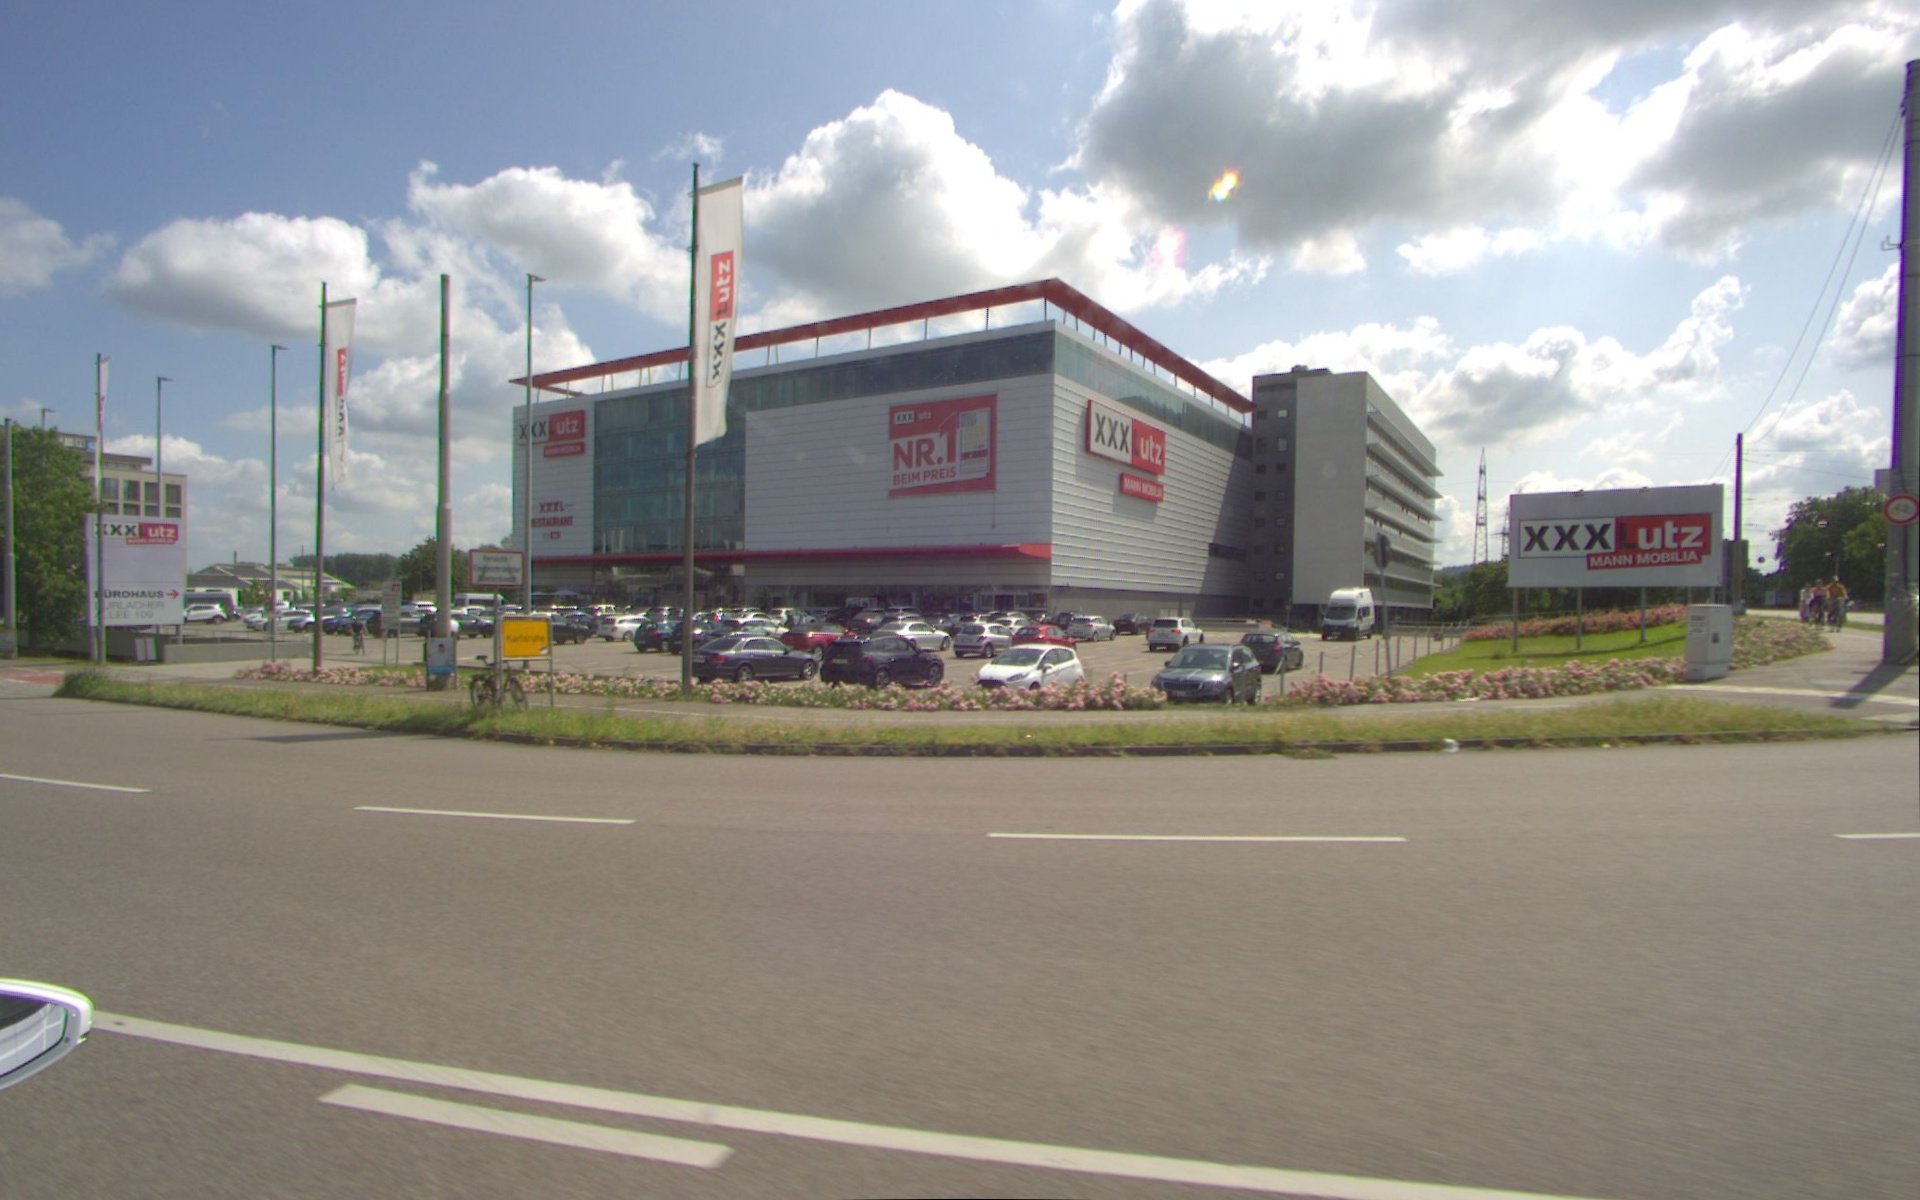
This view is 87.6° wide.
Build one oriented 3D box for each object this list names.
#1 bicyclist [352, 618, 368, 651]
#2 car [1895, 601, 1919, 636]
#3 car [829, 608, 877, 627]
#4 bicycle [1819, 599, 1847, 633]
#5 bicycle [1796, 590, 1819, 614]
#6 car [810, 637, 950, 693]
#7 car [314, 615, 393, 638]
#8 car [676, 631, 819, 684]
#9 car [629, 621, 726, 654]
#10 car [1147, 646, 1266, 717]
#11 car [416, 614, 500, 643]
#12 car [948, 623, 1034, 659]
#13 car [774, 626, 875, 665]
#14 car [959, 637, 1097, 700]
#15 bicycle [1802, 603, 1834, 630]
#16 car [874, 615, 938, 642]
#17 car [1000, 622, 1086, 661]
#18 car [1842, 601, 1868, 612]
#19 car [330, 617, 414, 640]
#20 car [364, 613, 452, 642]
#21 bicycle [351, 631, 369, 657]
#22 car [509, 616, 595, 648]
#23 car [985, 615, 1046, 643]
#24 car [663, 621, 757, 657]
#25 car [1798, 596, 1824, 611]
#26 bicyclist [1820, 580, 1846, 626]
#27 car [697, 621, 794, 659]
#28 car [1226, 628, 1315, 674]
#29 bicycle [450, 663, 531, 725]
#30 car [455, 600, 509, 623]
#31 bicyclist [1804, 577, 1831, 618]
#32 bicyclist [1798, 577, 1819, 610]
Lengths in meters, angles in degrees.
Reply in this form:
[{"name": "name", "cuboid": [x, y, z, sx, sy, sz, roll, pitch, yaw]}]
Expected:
[{"name": "bicyclist", "cuboid": [-26.984, 1.540, 45.024, 0.609, 1.431, 0.710, 0, 0, -32]}, {"name": "car", "cuboid": [39.883, 0.709, 40.881, 1.724, 1.378, 4.226, -1, -1, 33]}, {"name": "car", "cuboid": [-8.711, 1.466, 81.935, 1.714, 1.498, 4.159, 0, -1, 32]}, {"name": "bicycle", "cuboid": [30.466, 0.567, 34.952, 0.613, 1.180, 1.495, 1, -1, 37]}, {"name": "bicycle", "cuboid": [35.230, 0.094, 41.630, 0.589, 0.973, 1.975, 1, -1, 36]}, {"name": "car", "cuboid": [-2.232, 1.823, 29.136, 1.831, 1.435, 4.350, -1, -1, 33]}, {"name": "car", "cuboid": [-39.931, 1.715, 65.991, 1.664, 1.343, 4.174, 0, 0, 32]}, {"name": "car", "cuboid": [-6.599, 1.743, 31.526, 1.831, 1.495, 4.348, -1, -1, 34]}, {"name": "car", "cuboid": [-13.538, 1.778, 48.183, 1.821, 1.381, 4.346, 1, 1, 34]}, {"name": "car", "cuboid": [6.008, 1.889, 24.123, 1.691, 1.436, 3.981, -1, -1, 31]}, {"name": "car", "cuboid": [-29.705, 1.675, 59.352, 1.739, 1.573, 4.174, 0, 1, 31]}, {"name": "car", "cuboid": [1.444, 1.810, 44.935, 1.821, 1.381, 4.346, 1, 1, 34]}, {"name": "car", "cuboid": [-5.693, 1.890, 42.466, 1.821, 1.381, 4.346, 1, 1, 34]}, {"name": "car", "cuboid": [1.887, 1.742, 26.489, 1.771, 1.458, 4.350, -1, -1, 33]}, {"name": "bicycle", "cuboid": [31.743, 0.605, 37.051, 0.656, 0.973, 1.687, 1, -1, 33]}, {"name": "car", "cuboid": [-3.195, 1.704, 59.857, 1.825, 1.572, 4.038, -1, -1, 34]}, {"name": "car", "cuboid": [3.652, 1.759, 43.362, 1.821, 1.446, 4.346, 1, 1, 34]}, {"name": "car", "cuboid": [125.141, 0.890, 140.017, 1.906, 1.383, 3.727, 0, -1, 30]}, {"name": "car", "cuboid": [-37.864, 1.829, 64.583, 1.739, 1.343, 4.351, 0, 0, 31]}, {"name": "car", "cuboid": [-33.946, 1.656, 61.686, 2.000, 1.595, 4.351, 0, 1, 31]}, {"name": "bicycle", "cuboid": [-26.980, 1.970, 45.017, 0.617, 1.082, 1.955, 0, 0, -33]}, {"name": "car", "cuboid": [-21.608, 1.687, 53.208, 1.716, 1.552, 4.048, 0, 0, 29]}, {"name": "car", "cuboid": [3.158, 1.635, 56.130, 1.645, 1.470, 3.979, 0, -1, 33]}, {"name": "car", "cuboid": [-11.663, 1.778, 46.947, 1.604, 1.461, 4.346, 1, 1, 34]}, {"name": "car", "cuboid": [140.804, 0.584, 165.745, 2.116, 2.390, 5.458, 0, 0, 29]}, {"name": "bicyclist", "cuboid": [30.453, 0.106, 34.932, 0.612, 1.555, 0.692, 1, -1, 37]}, {"name": "car", "cuboid": [-9.650, 1.753, 45.279, 1.659, 1.528, 4.346, 0, 0, 34]}, {"name": "car", "cuboid": [11.673, 1.861, 37.503, 2.021, 1.428, 4.346, 1, 1, 34]}, {"name": "bicycle", "cuboid": [-7.928, 1.568, 16.885, 1.522, 0.964, 0.516, -1, -2, 33]}, {"name": "car", "cuboid": [-43.329, 1.033, 90.775, 1.971, 1.976, 3.980, 0, -1, 33]}, {"name": "bicyclist", "cuboid": [31.845, -0.103, 37.188, 0.642, 1.494, 0.739, 1, -1, 33]}, {"name": "bicyclist", "cuboid": [35.145, -0.271, 41.497, 0.585, 1.343, 0.683, 1, -1, 36]}]
